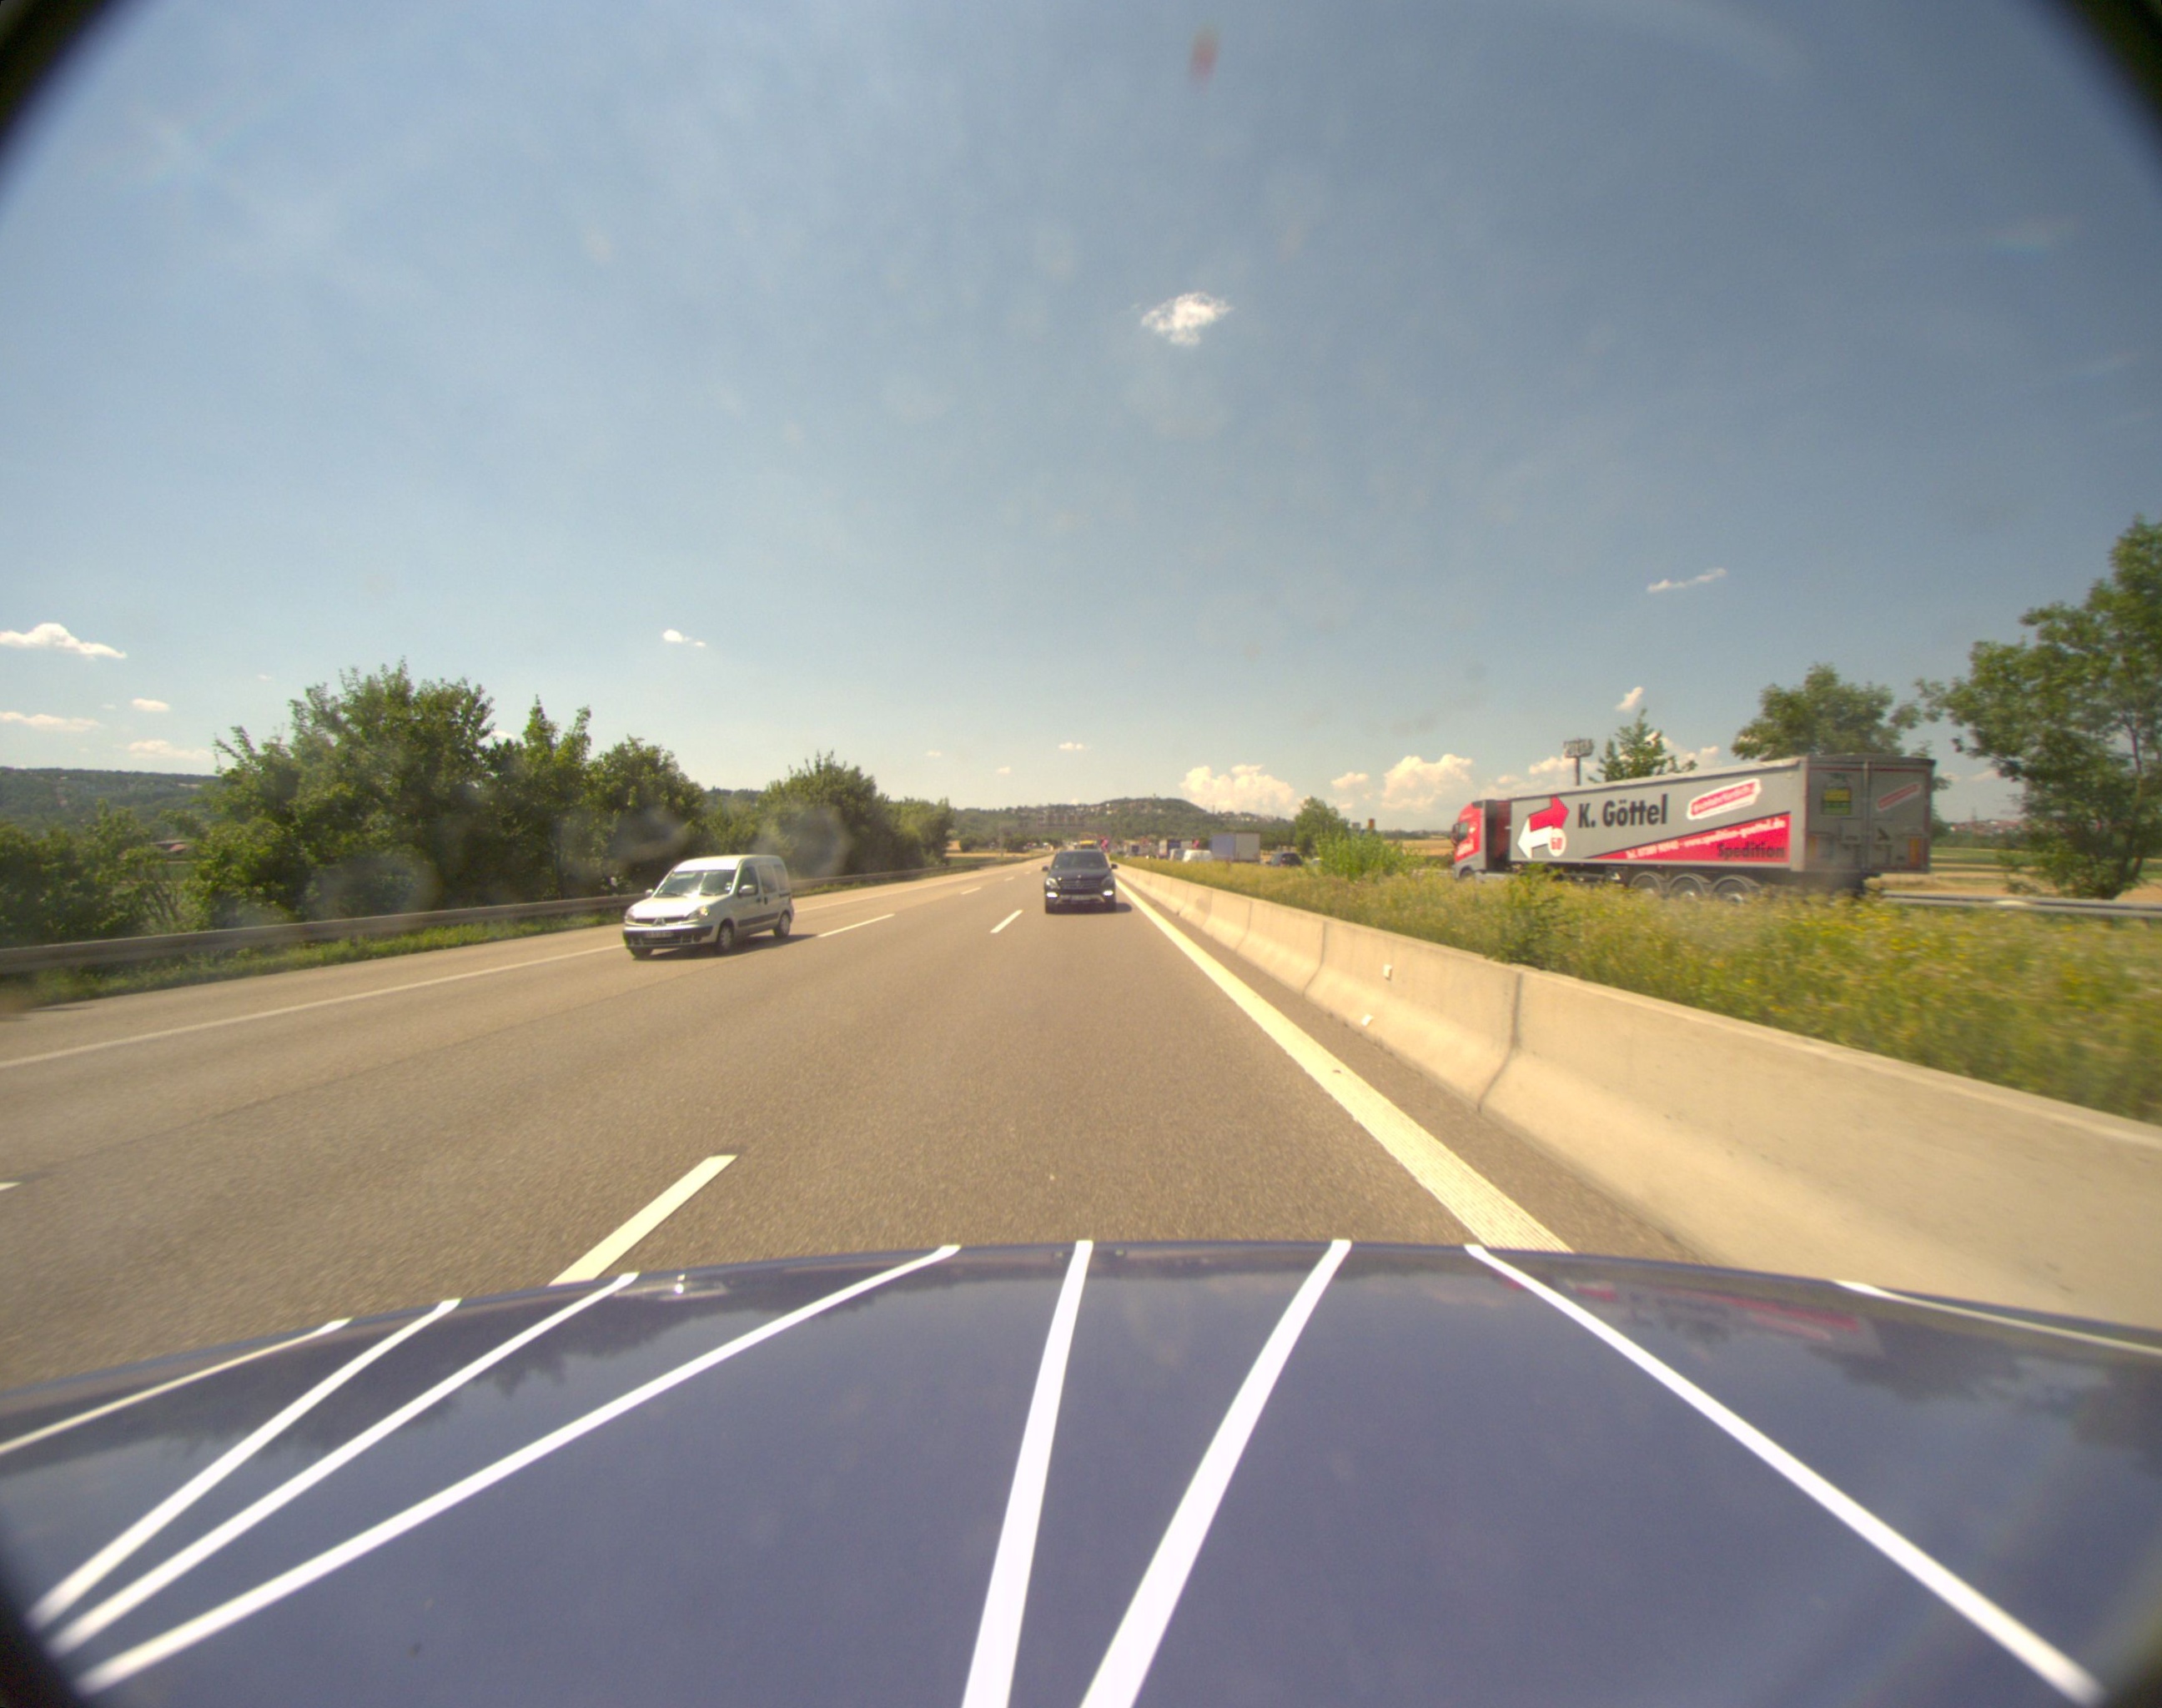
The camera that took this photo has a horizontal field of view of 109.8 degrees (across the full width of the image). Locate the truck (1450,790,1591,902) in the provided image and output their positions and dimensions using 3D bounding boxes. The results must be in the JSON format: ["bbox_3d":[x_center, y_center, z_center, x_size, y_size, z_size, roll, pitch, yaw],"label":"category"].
[{"bbox_3d":[16.068,-0.269,28.100,2.863,3.833,4.000,0,1,0],"label":"truck"}]

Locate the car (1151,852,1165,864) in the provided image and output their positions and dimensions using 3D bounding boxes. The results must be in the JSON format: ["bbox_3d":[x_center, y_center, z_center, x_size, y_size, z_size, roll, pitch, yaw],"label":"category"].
[{"bbox_3d":[9.931,0.485,98.205,1.388,1.460,3.195,0,0,0],"label":"car"}]

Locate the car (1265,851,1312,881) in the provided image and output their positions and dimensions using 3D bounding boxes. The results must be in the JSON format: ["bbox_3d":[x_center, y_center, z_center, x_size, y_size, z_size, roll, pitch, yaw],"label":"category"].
[{"bbox_3d":[12.457,0.685,45.838,1.698,1.717,4.261,-1,0,0],"label":"car"}]

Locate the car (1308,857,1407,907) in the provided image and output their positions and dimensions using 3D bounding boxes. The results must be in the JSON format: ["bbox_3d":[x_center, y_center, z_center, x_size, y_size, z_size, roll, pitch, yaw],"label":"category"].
[{"bbox_3d":[8.581,0.826,23.904,1.698,1.408,3.815,-1,0,0],"label":"car"}]

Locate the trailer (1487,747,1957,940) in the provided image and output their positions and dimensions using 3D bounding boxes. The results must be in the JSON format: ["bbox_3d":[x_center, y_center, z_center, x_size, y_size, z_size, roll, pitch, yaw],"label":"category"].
[{"bbox_3d":[16.010,-0.232,21.222,2.863,3.833,12.185,0,0,0],"label":"trailer"}]

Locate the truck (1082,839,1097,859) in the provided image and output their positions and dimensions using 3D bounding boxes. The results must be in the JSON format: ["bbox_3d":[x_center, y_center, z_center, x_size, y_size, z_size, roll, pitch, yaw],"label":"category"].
[{"bbox_3d":[1.476,-0.905,128.267,2.272,3.139,8.185,-2,2,1],"label":"truck"}]

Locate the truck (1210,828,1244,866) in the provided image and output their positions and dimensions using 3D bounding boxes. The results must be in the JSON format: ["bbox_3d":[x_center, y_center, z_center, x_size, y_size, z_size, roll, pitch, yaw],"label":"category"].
[{"bbox_3d":[16.758,-0.795,87.450,2.872,4.325,5.586,0,1,1],"label":"truck"}]

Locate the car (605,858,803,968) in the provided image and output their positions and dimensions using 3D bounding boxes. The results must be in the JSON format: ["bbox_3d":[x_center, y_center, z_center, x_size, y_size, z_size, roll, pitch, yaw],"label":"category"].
[{"bbox_3d":[-6.917,0.975,14.457,1.630,1.727,3.972,-2,0,1],"label":"car"}]

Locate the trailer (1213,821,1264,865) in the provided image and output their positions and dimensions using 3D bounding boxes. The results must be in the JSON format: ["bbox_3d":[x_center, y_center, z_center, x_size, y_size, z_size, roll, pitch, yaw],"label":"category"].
[{"bbox_3d":[16.677,-1.102,81.366,2.890,4.325,13.642,0,0,1],"label":"trailer"}]

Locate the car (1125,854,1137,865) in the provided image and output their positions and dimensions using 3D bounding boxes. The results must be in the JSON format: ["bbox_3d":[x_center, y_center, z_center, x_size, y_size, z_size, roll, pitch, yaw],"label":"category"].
[{"bbox_3d":[9.688,1.002,146.130,1.998,1.934,4.794,0,1,0],"label":"car"}]

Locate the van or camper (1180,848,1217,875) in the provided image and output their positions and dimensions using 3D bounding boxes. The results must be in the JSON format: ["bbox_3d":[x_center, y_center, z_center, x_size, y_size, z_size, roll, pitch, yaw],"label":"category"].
[{"bbox_3d":[8.845,0.564,57.639,1.999,1.922,5.201,-1,0,0],"label":"van or camper"}]

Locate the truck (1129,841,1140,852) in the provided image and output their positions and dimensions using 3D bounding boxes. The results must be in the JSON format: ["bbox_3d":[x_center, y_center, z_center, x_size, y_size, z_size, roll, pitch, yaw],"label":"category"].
[{"bbox_3d":[18.263,-2.518,259.758,2.983,3.587,9.992,-1,0,0],"label":"truck"}]

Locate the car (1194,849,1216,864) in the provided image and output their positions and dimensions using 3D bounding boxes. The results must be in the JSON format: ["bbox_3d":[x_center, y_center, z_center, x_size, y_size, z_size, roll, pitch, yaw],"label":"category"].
[{"bbox_3d":[12.646,0.268,77.528,1.621,1.455,3.864,0,0,0],"label":"car"}]

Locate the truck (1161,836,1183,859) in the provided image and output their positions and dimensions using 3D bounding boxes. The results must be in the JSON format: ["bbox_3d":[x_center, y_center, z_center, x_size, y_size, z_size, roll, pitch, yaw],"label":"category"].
[{"bbox_3d":[17.466,-1.271,146.180,2.599,4.214,14.121,2,1,1],"label":"truck"}]

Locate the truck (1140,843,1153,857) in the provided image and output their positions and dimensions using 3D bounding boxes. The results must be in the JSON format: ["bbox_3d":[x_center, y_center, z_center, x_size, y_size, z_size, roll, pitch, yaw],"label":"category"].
[{"bbox_3d":[17.346,-1.054,201.394,2.706,3.599,8.787,1,0,2],"label":"truck"}]

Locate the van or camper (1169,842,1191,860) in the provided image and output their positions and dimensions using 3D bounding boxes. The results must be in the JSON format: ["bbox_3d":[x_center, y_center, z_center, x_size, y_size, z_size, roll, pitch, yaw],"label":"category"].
[{"bbox_3d":[12.666,-0.432,97.810,2.099,2.261,5.493,0,0,0],"label":"van or camper"}]

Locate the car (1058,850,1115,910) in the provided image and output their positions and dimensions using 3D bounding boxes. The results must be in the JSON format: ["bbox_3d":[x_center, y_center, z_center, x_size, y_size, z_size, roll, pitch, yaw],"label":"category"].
[{"bbox_3d":[0.213,0.764,23.914,1.630,1.711,3.864,-1,0,1],"label":"car"}]
